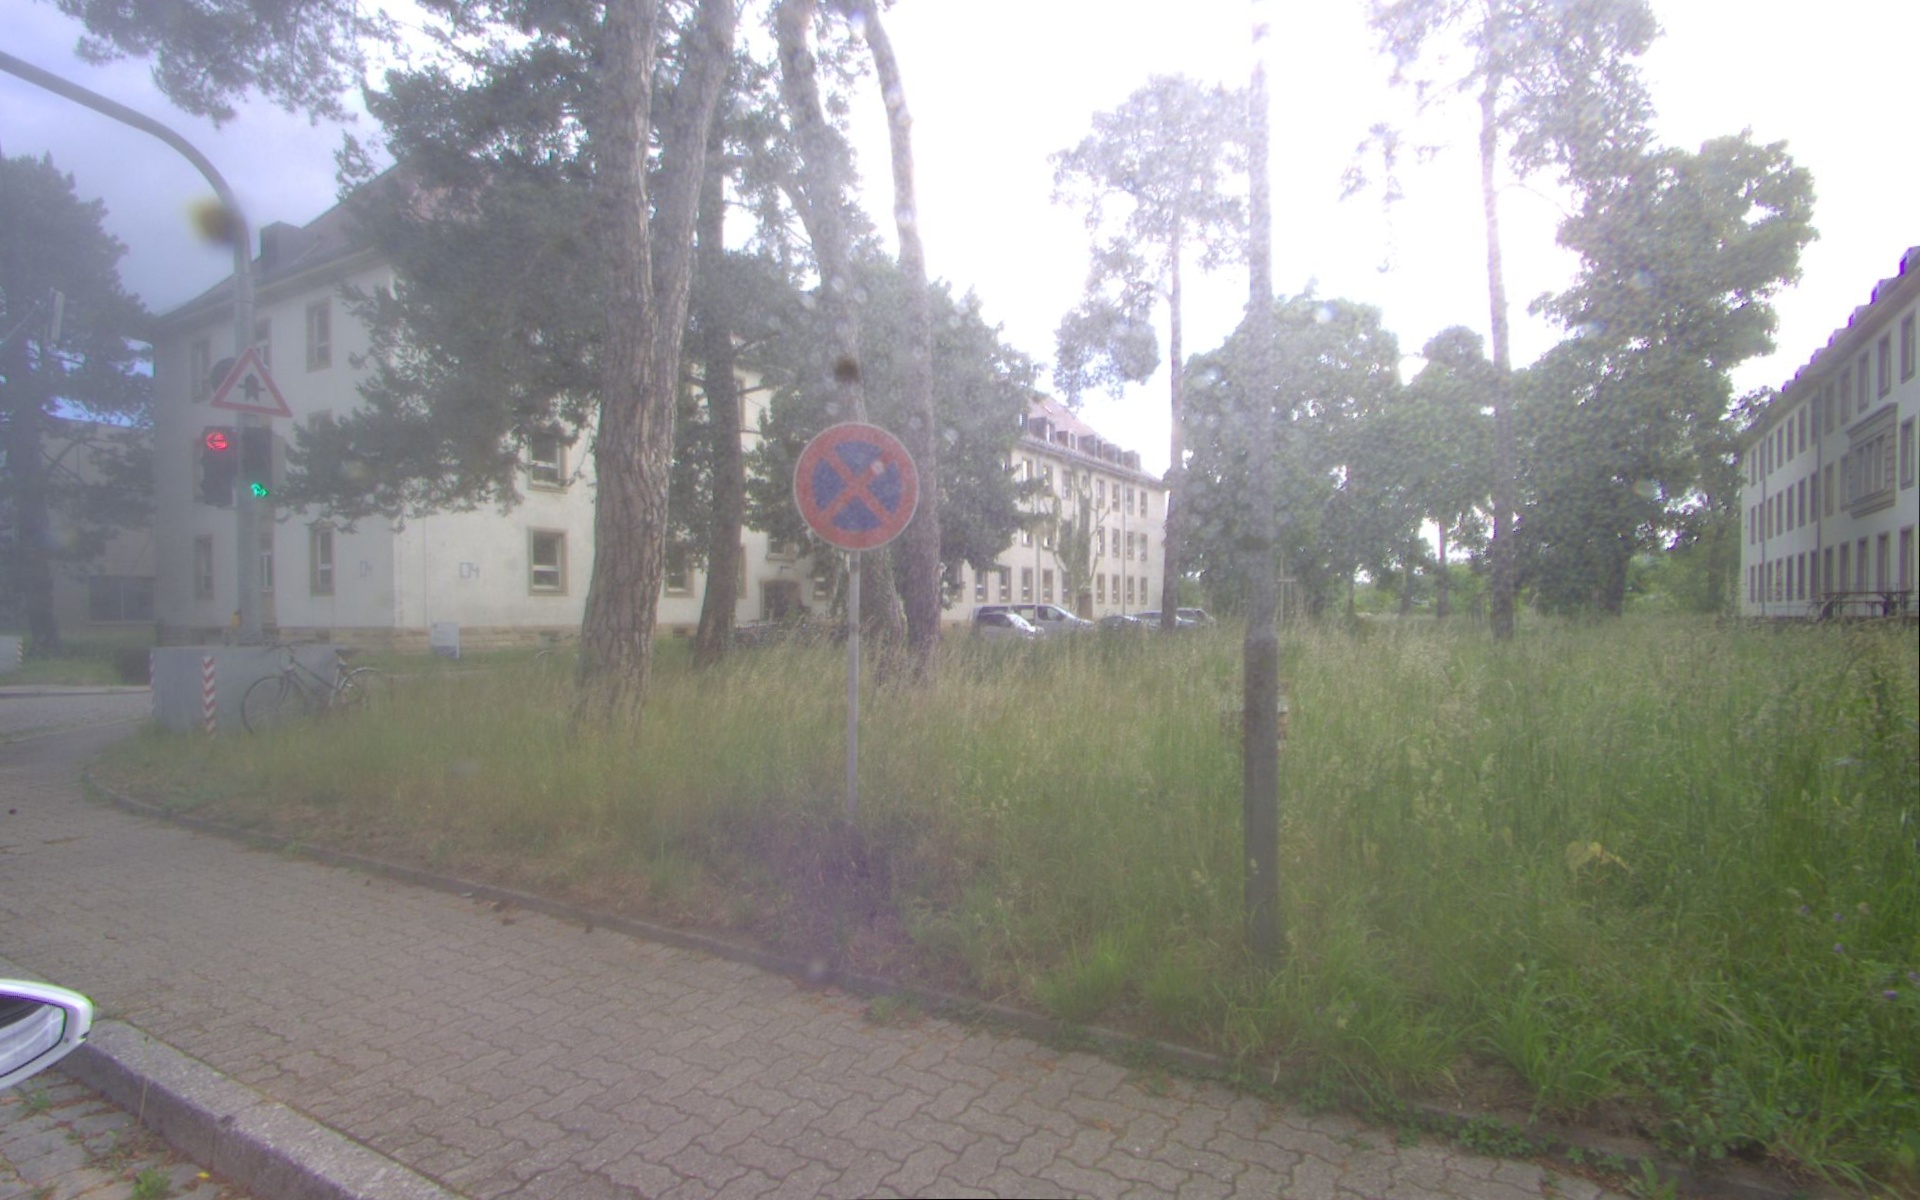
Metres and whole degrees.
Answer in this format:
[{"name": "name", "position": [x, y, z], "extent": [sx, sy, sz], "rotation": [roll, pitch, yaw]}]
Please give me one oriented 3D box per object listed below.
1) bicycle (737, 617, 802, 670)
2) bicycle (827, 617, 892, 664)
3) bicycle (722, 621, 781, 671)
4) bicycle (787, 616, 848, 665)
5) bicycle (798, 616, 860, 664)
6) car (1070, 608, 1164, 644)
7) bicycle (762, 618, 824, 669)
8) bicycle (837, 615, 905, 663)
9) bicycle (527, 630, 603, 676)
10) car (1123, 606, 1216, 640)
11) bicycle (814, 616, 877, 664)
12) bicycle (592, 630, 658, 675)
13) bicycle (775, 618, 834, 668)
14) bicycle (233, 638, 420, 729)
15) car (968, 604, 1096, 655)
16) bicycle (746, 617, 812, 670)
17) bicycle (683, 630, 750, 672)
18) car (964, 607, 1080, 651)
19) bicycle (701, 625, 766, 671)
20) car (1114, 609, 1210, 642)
[{"name": "bicycle", "position": [-4.960, 1.116, 26.019], "extent": [2.021, 1.337, 0.436], "rotation": [0, 0, 37]}, {"name": "bicycle", "position": [-2.953, 1.156, 29.334], "extent": [2.104, 1.337, 0.553], "rotation": [0, 0, 37]}, {"name": "bicycle", "position": [-5.356, 1.163, 25.671], "extent": [1.617, 1.231, 0.539], "rotation": [0, 0, 37]}, {"name": "bicycle", "position": [-3.980, 1.104, 27.925], "extent": [1.829, 1.337, 0.553], "rotation": [0, 0, 37]}, {"name": "bicycle", "position": [-3.749, 1.121, 28.498], "extent": [1.913, 1.337, 0.551], "rotation": [0, 0, 37]}, {"name": "car", "position": [7.404, 1.213, 47.179], "extent": [3.943, 1.639, 1.990], "rotation": [0, -1, 33]}, {"name": "bicycle", "position": [-4.538, 1.154, 27.119], "extent": [1.895, 1.337, 0.504], "rotation": [0, 0, 37]}, {"name": "bicycle", "position": [-2.684, 1.133, 30.003], "extent": [2.075, 1.385, 0.755], "rotation": [0, 0, 37]}, {"name": "bicycle", "position": [-8.849, 1.171, 22.513], "extent": [0.522, 0.993, 1.618], "rotation": [0, -1, 30]}, {"name": "car", "position": [11.504, 1.268, 55.011], "extent": [4.629, 1.796, 1.990], "rotation": [-1, -1, 33]}, {"name": "bicycle", "position": [-3.304, 1.139, 28.885], "extent": [1.989, 1.337, 0.538], "rotation": [0, 0, 37]}, {"name": "bicycle", "position": [-8.048, 1.237, 24.083], "extent": [0.535, 1.027, 1.534], "rotation": [0, -1, 30]}, {"name": "bicycle", "position": [-4.280, 1.166, 27.488], "extent": [1.893, 1.337, 0.390], "rotation": [0, 0, 37]}, {"name": "bicycle", "position": [-6.999, 0.890, 11.147], "extent": [0.564, 0.885, 1.697], "rotation": [0, 0, 32]}, {"name": "car", "position": [2.915, 1.153, 40.276], "extent": [4.774, 1.935, 2.237], "rotation": [0, 0, 17]}, {"name": "bicycle", "position": [-4.826, 1.135, 26.605], "extent": [1.950, 1.337, 0.574], "rotation": [0, 0, 37]}, {"name": "bicycle", "position": [-6.013, 1.241, 24.631], "extent": [1.877, 0.961, 0.539], "rotation": [0, 0, 37]}, {"name": "car", "position": [2.263, 1.040, 36.726], "extent": [3.877, 1.550, 1.852], "rotation": [0, -1, 34]}, {"name": "bicycle", "position": [-5.717, 1.190, 25.216], "extent": [1.877, 1.116, 0.539], "rotation": [0, 0, 37]}, {"name": "car", "position": [10.451, 1.289, 51.907], "extent": [4.452, 1.639, 1.990], "rotation": [-1, -1, 33]}]
